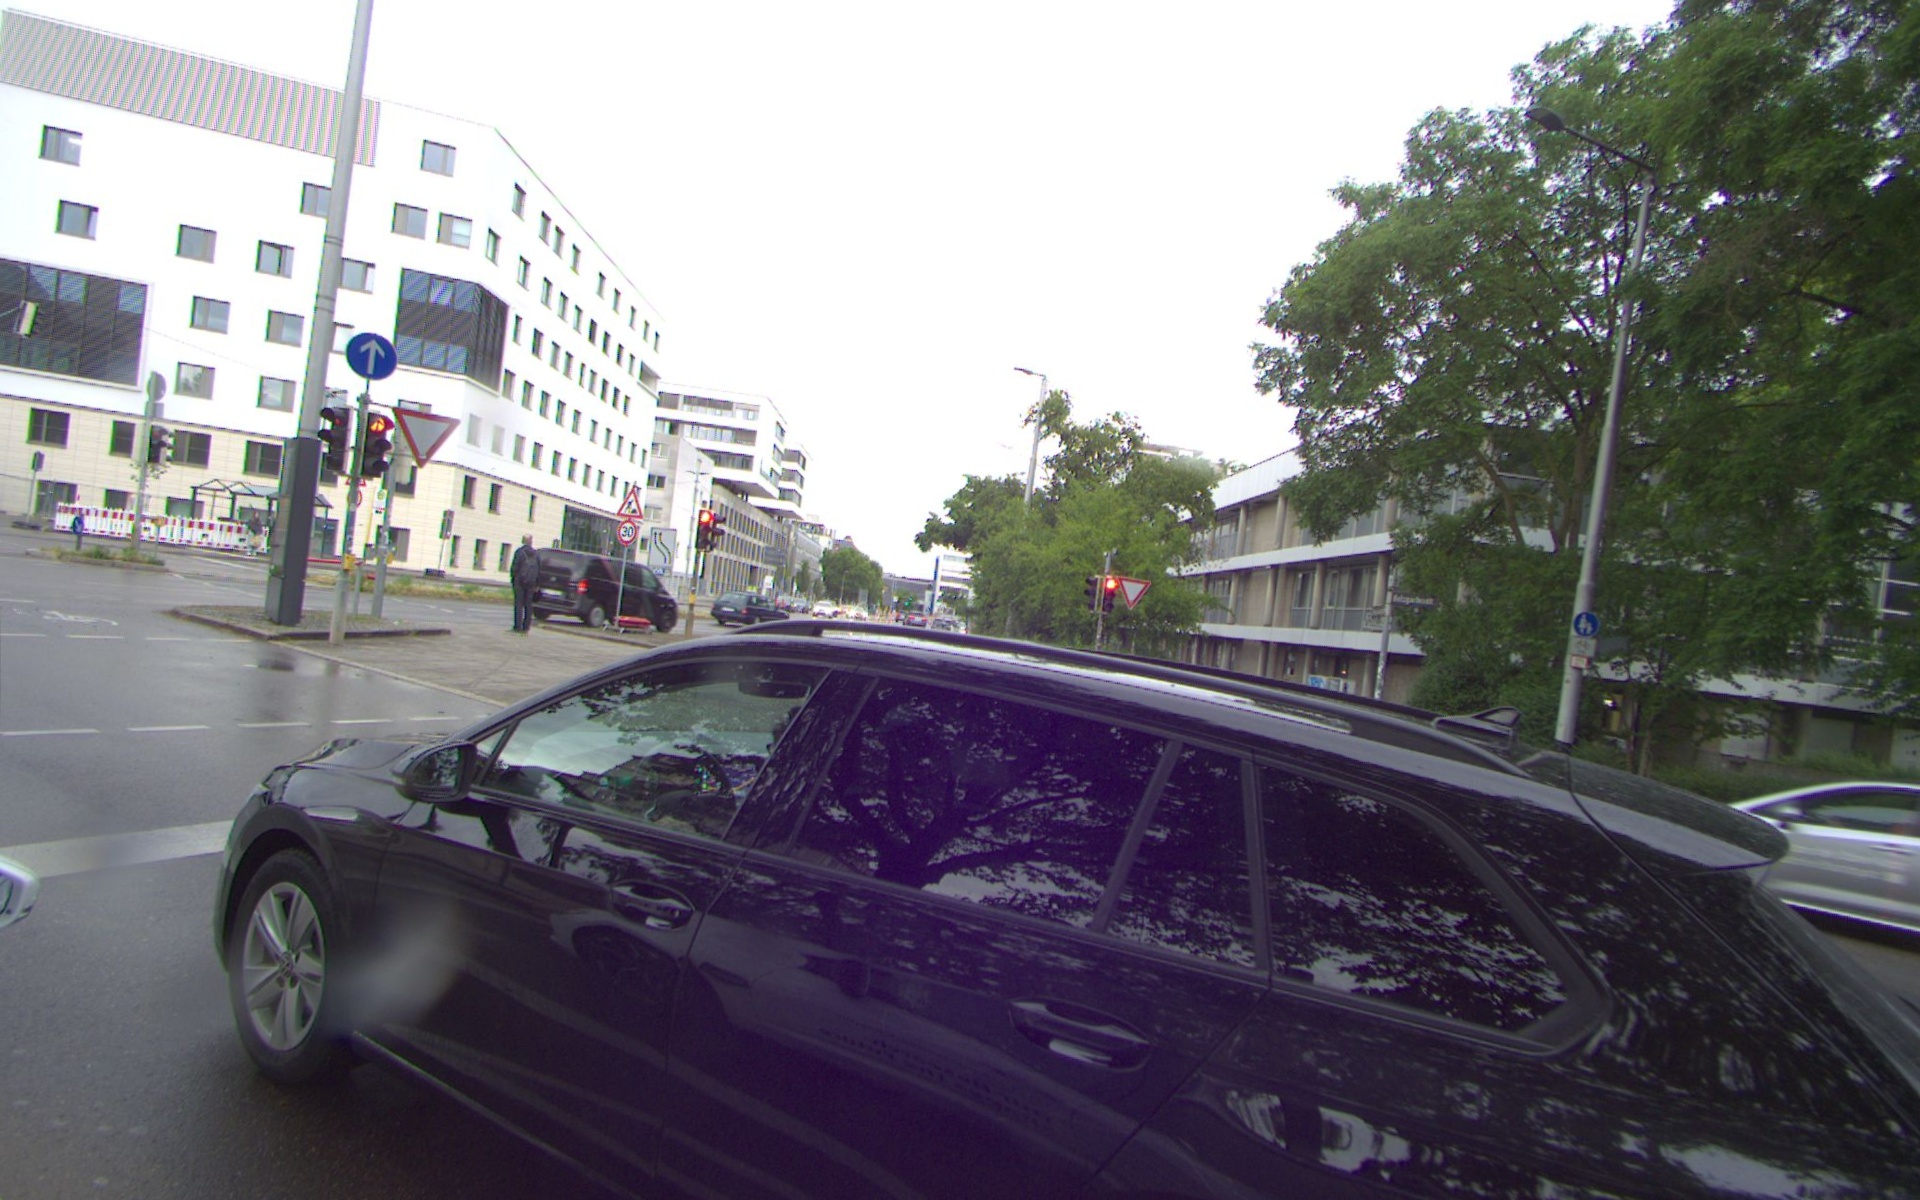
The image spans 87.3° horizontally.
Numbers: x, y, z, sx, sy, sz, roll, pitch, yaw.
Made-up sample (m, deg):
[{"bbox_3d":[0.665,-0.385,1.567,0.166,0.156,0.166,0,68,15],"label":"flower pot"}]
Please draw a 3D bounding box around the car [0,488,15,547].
[{"bbox_3d":[-24.977,-2.275,23.016,1.964,1.394,4.387,8,-1,25],"label":"car"}]

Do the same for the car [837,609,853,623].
[{"bbox_3d":[-16.813,2.308,146.983,1.966,1.684,4.382,8,-1,-8],"label":"car"}]

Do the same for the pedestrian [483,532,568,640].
[{"bbox_3d":[-8.345,-0.256,19.329,1.009,1.913,0.830,6,-2,23],"label":"pedestrian"}]

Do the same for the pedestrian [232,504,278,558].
[{"bbox_3d":[-26.821,-2.616,38.303,0.808,1.861,0.955,6,-2,20],"label":"pedestrian"}]

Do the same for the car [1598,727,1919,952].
[{"bbox_3d":[8.583,2.274,9.024,1.853,1.467,4.359,9,-1,-37],"label":"car"}]

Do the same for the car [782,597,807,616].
[{"bbox_3d":[-15.089,0.575,91.945,1.966,1.394,4.382,8,-1,-8],"label":"car"}]

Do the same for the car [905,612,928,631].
[{"bbox_3d":[-4.554,2.214,104.403,1.835,1.669,4.775,7,-2,-6],"label":"car"}]

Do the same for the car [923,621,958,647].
[{"bbox_3d":[-1.264,2.321,67.952,1.833,1.437,4.006,7,-3,5],"label":"car"}]

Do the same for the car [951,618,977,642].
[{"bbox_3d":[0.369,2.468,82.051,1.833,1.669,4.782,7,-3,1],"label":"car"}]

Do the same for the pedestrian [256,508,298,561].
[{"bbox_3d":[-27.628,-2.639,40.708,0.941,1.957,1.001,6,-2,41],"label":"pedestrian"}]

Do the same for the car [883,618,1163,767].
[{"bbox_3d":[0.749,1.244,14.426,1.851,1.467,3.964,9,-1,-34],"label":"car"}]

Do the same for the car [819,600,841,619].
[{"bbox_3d":[-13.567,0.994,105.034,1.966,1.684,4.382,8,-1,-8],"label":"car"}]

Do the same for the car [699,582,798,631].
[{"bbox_3d":[-8.838,0.327,42.547,1.962,1.693,4.973,7,-1,14],"label":"car"}]

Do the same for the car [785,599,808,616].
[{"bbox_3d":[-16.243,0.715,100.048,1.966,1.394,4.382,8,-1,-8],"label":"car"}]

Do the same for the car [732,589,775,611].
[{"bbox_3d":[-20.445,0.011,99.621,4.002,1.575,1.962,7,-2,38],"label":"car"}]

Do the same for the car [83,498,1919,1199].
[{"bbox_3d":[-0.303,0.767,2.734,4.435,1.483,1.674,8,0,30],"label":"car"}]

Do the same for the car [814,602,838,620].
[{"bbox_3d":[-12.382,1.017,92.823,1.966,1.394,4.382,8,-1,-8],"label":"car"}]

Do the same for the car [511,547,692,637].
[{"bbox_3d":[-9.556,-0.136,27.307,1.962,1.830,4.791,8,-2,18],"label":"car"}]
